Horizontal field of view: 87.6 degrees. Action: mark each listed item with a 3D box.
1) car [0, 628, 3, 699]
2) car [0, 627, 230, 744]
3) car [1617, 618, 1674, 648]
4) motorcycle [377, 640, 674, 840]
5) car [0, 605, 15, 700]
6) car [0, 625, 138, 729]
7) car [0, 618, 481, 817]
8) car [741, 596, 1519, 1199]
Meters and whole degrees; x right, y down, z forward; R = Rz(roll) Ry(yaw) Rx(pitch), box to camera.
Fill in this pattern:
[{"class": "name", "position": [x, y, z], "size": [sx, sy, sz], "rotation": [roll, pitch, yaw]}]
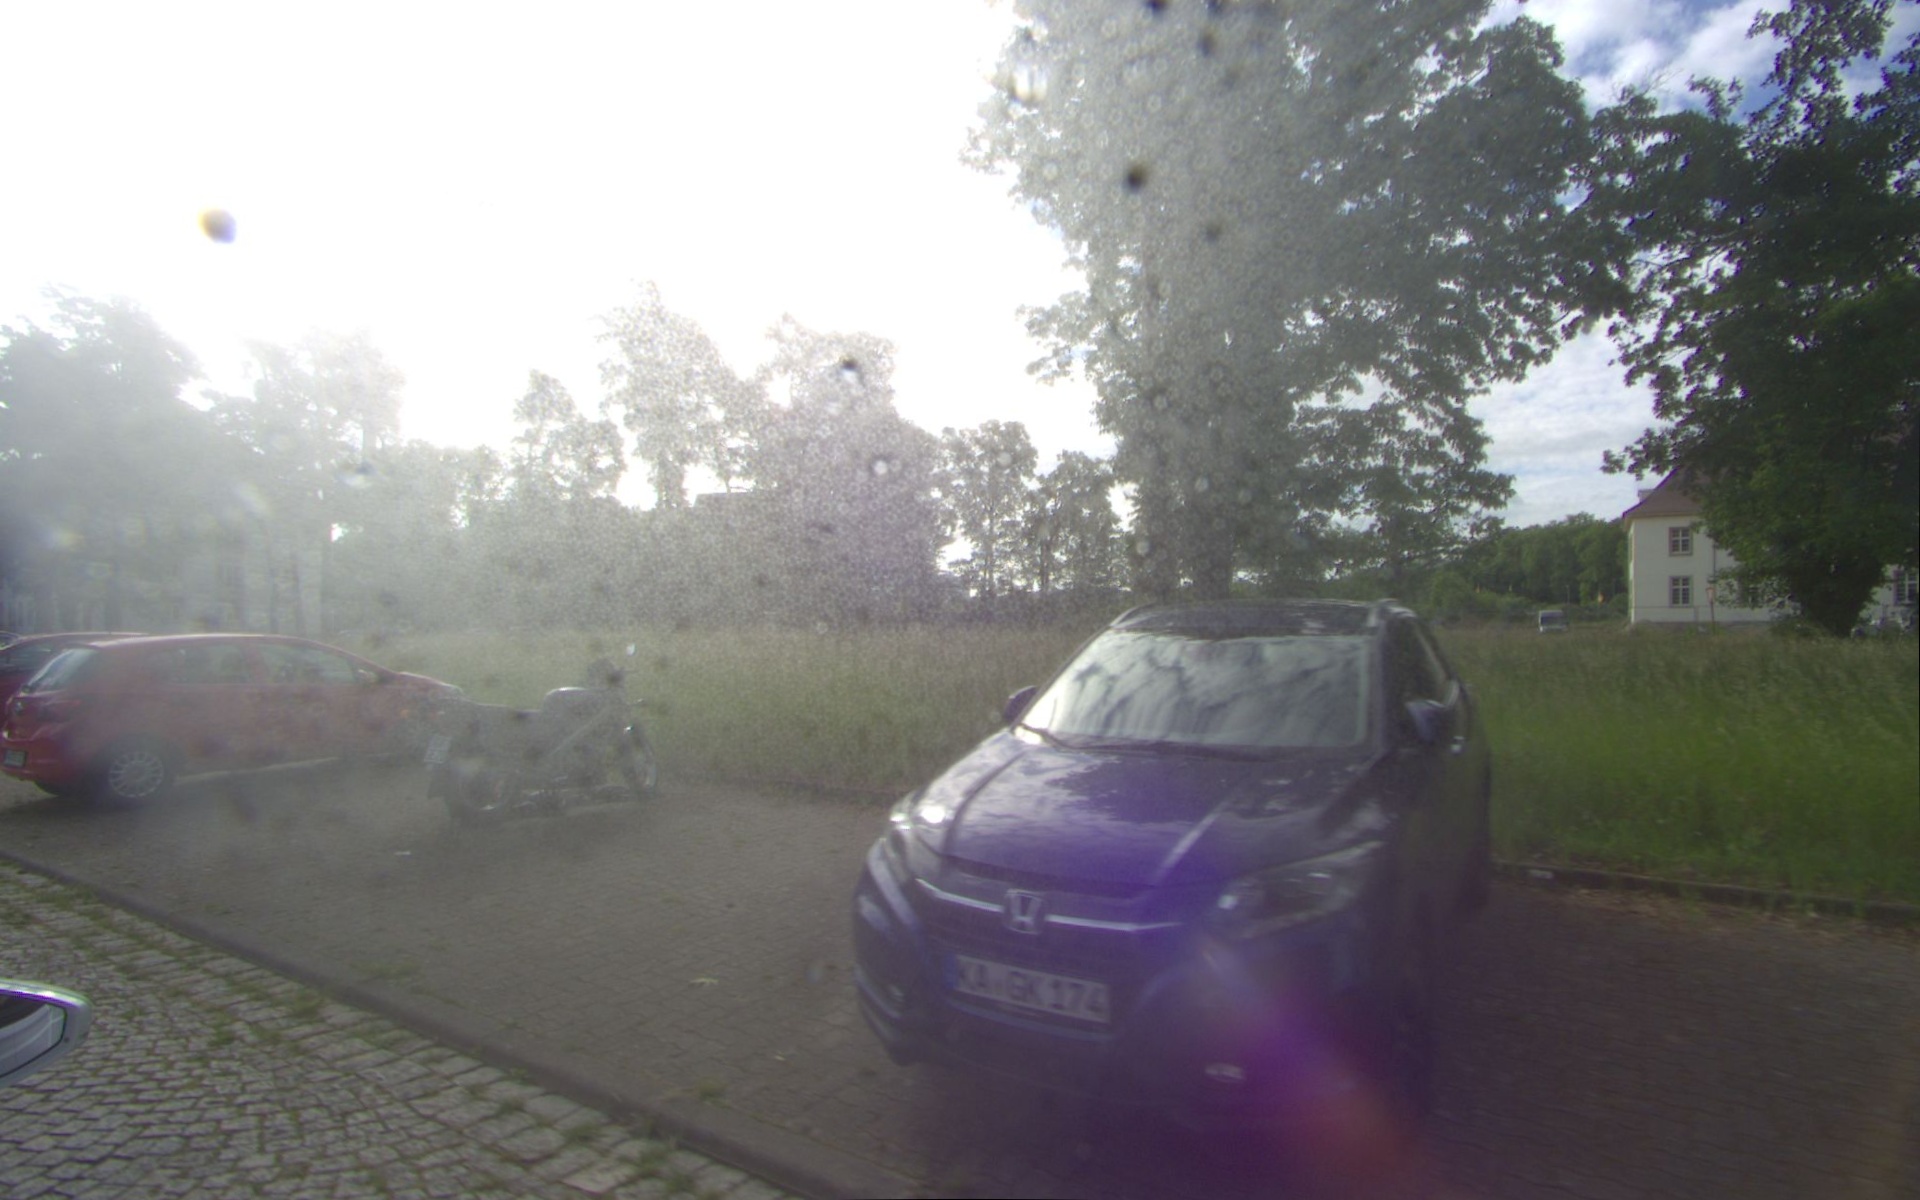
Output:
[{"class": "car", "position": [-20.938, 1.304, 18.992], "size": [1.630, 1.443, 3.716], "rotation": [-1, 0, 31]}, {"class": "car", "position": [-13.229, 1.184, 14.492], "size": [1.714, 1.538, 3.978], "rotation": [-1, -1, 33]}, {"class": "car", "position": [49.079, 2.378, 71.850], "size": [2.447, 2.039, 5.819], "rotation": [-1, -3, 25]}, {"class": "motorcycle", "position": [-3.308, 0.992, 7.917], "size": [0.596, 1.291, 2.262], "rotation": [-1, 0, 28]}, {"class": "car", "position": [-22.829, 1.130, 20.532], "size": [1.713, 2.066, 4.775], "rotation": [0, -1, 31]}, {"class": "car", "position": [-15.601, 1.190, 15.636], "size": [1.736, 1.601, 3.944], "rotation": [-1, -1, 32]}, {"class": "car", "position": [-7.132, 0.981, 10.103], "size": [1.713, 1.525, 3.831], "rotation": [-1, 0, 32]}, {"class": "car", "position": [1.249, 0.795, 4.408], "size": [1.868, 1.594, 4.253], "rotation": [0, 0, 33]}]
